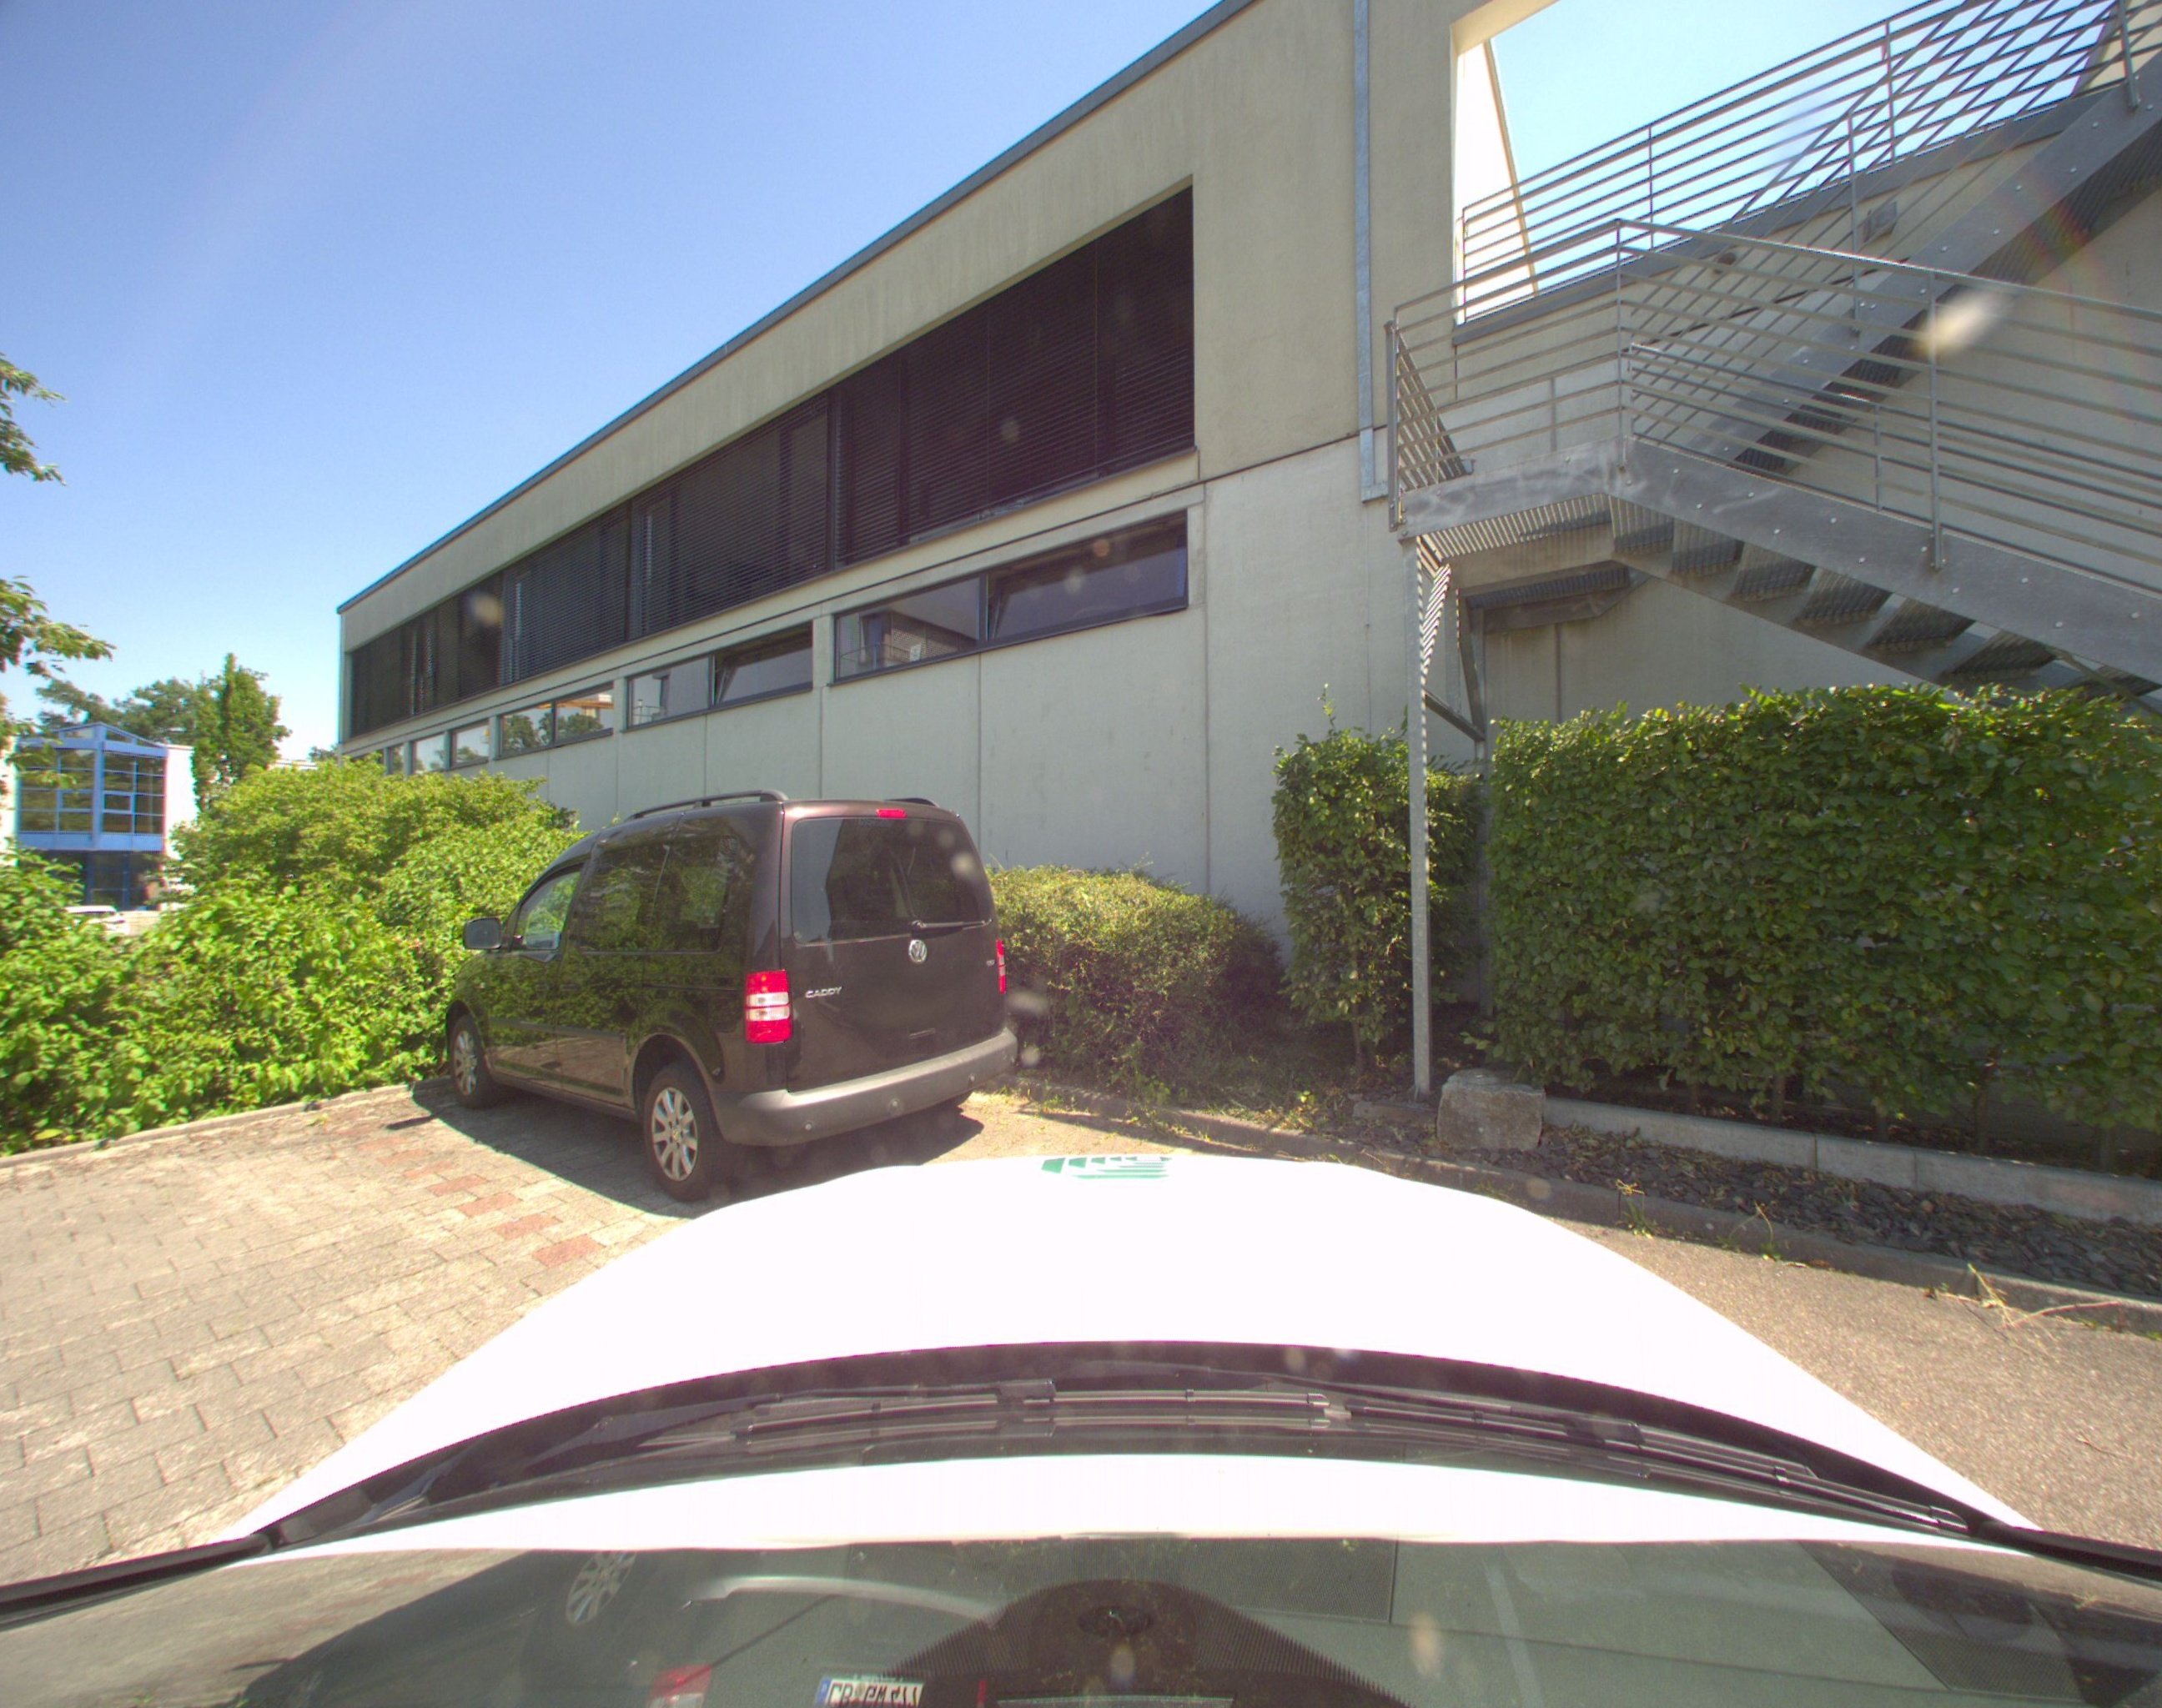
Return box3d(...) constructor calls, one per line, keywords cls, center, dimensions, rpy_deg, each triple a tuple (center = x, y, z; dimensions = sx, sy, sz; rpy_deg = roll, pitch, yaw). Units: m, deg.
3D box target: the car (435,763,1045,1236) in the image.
box3d(cls="car", center=(-2.336, 0.606, 5.115), dimensions=(4.018, 1.884, 1.689), rpy_deg=(-1, -1, 36))
